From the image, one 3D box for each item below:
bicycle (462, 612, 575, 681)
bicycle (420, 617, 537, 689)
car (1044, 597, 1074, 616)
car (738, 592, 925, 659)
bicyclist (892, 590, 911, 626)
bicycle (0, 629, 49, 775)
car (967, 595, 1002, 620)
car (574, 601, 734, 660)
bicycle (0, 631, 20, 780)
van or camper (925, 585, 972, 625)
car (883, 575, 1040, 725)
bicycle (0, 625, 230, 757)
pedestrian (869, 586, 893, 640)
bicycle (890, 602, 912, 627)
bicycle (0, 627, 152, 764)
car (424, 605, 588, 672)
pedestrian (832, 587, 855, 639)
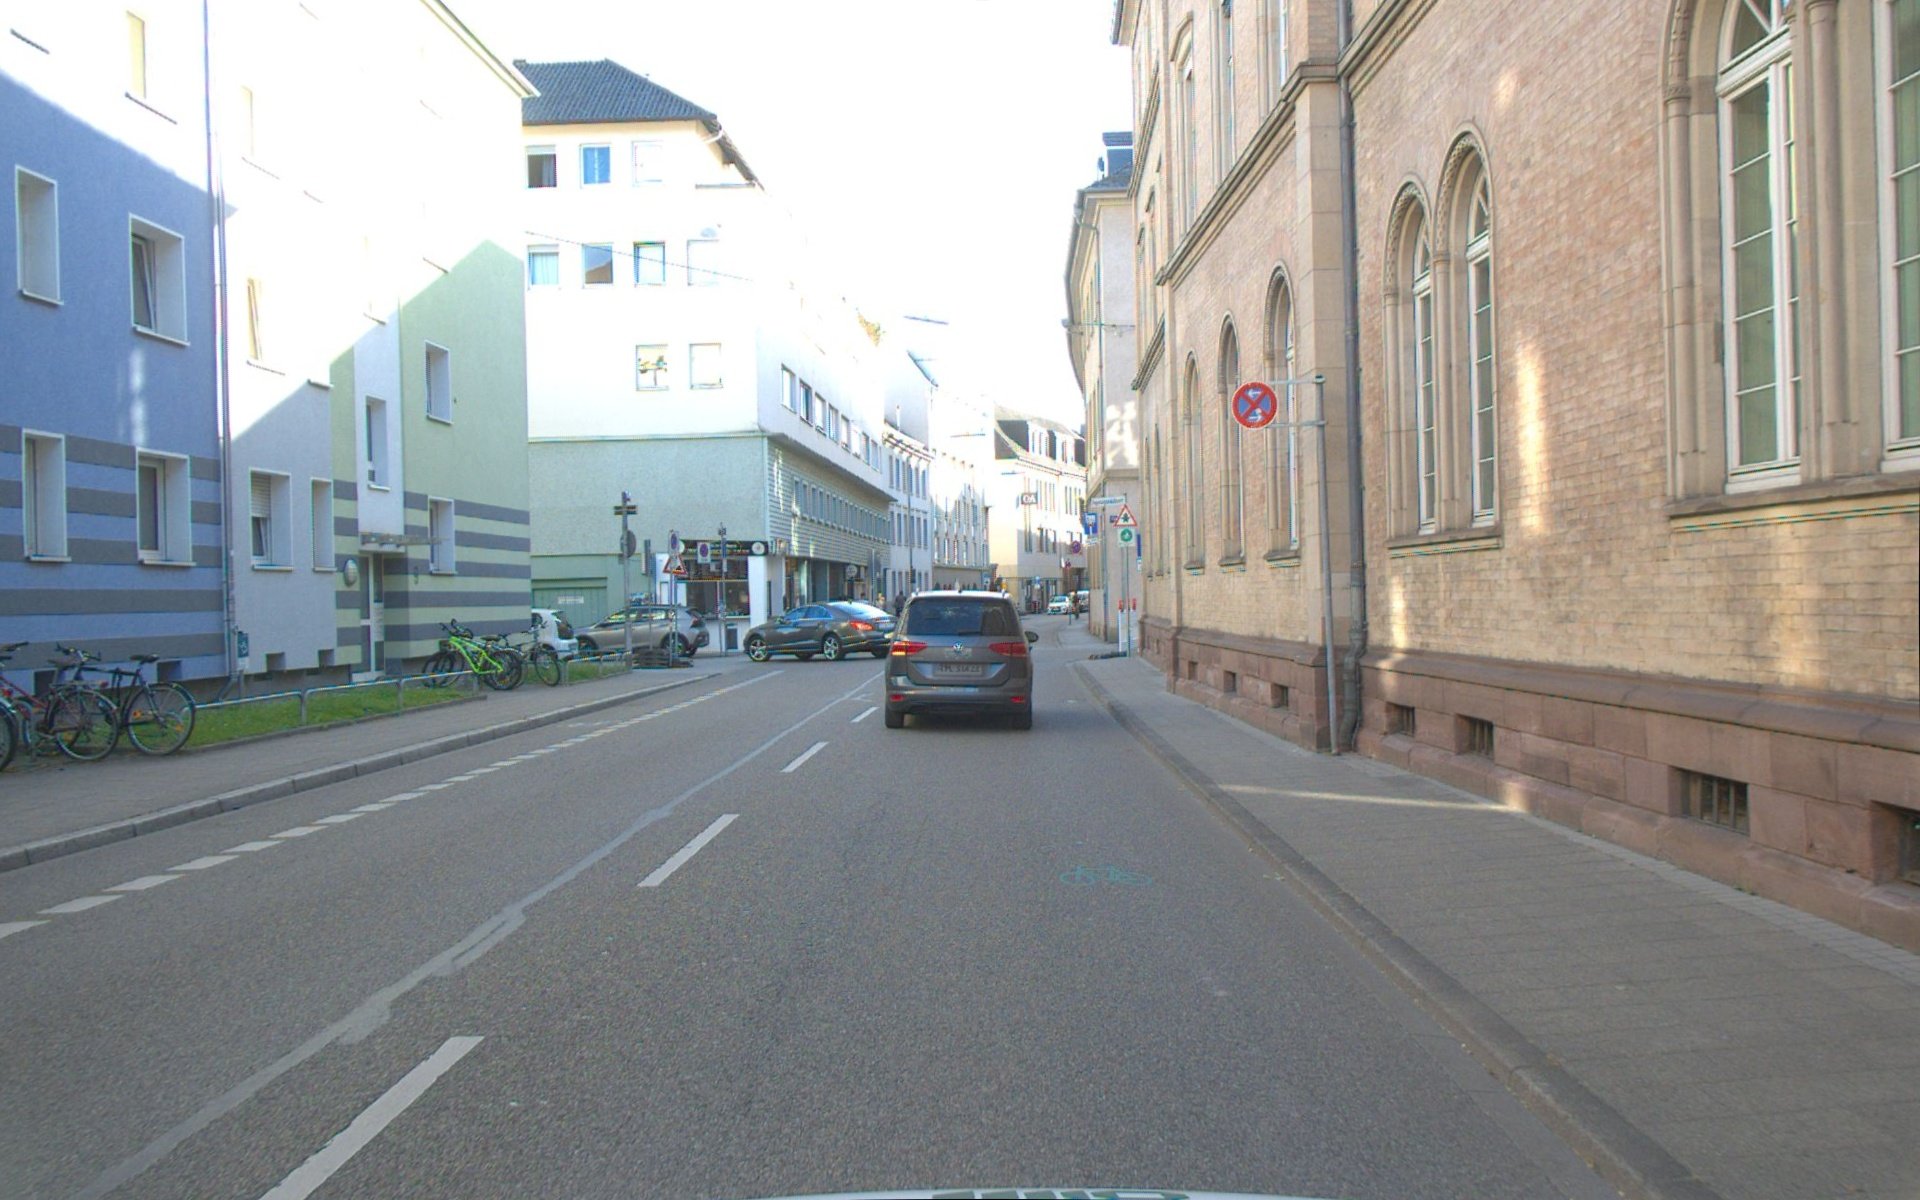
[{"bbox_3d":[-8.075,0.851,30.317,1.892,1.200,0.612,2,-1,-8],"label":"bicycle"},{"bbox_3d":[-8.378,0.918,28.852,1.896,1.200,0.611,2,-1,-15],"label":"bicycle"},{"bbox_3d":[8.164,0.525,136.189,1.697,1.493,4.003,-1,0,15],"label":"car"},{"bbox_3d":[-3.240,0.624,41.166,4.542,1.568,1.990,-1,0,40],"label":"car"},{"bbox_3d":[-2.583,0.361,73.044,0.814,1.589,0.759,-1,0,1],"label":"bicyclist"},{"bbox_3d":[-8.979,0.905,14.631,1.552,1.263,0.449,-1,0,-1],"label":"bicycle"},{"bbox_3d":[1.582,0.463,106.079,1.826,1.494,3.836,-1,0,6],"label":"car"},{"bbox_3d":[-8.538,0.846,46.317,4.012,1.468,1.948,-2,0,3],"label":"car"},{"bbox_3d":[-8.976,0.918,14.214,1.547,1.263,0.384,-1,0,-1],"label":"bicycle"},{"bbox_3d":[-0.606,0.252,89.941,1.951,2.049,4.486,-1,0,7],"label":"van or camper"},{"bbox_3d":[0.040,0.563,20.631,1.726,1.635,4.000,2,0,1],"label":"car"},{"bbox_3d":[-8.465,0.901,16.600,1.967,1.253,0.623,-1,0,-1],"label":"bicycle"},{"bbox_3d":[-2.748,0.464,57.722,0.544,1.861,0.730,-1,0,25],"label":"pedestrian"},{"bbox_3d":[-2.582,0.626,72.986,0.814,1.073,2.550,-1,0,1],"label":"bicycle"},{"bbox_3d":[-8.687,0.913,15.882,1.606,1.263,0.467,-1,0,-1],"label":"bicycle"},{"bbox_3d":[-11.071,0.923,40.501,3.427,1.468,1.814,-2,0,3],"label":"car"},{"bbox_3d":[-4.235,0.467,60.049,0.544,1.861,0.730,-1,0,25],"label":"pedestrian"}]
